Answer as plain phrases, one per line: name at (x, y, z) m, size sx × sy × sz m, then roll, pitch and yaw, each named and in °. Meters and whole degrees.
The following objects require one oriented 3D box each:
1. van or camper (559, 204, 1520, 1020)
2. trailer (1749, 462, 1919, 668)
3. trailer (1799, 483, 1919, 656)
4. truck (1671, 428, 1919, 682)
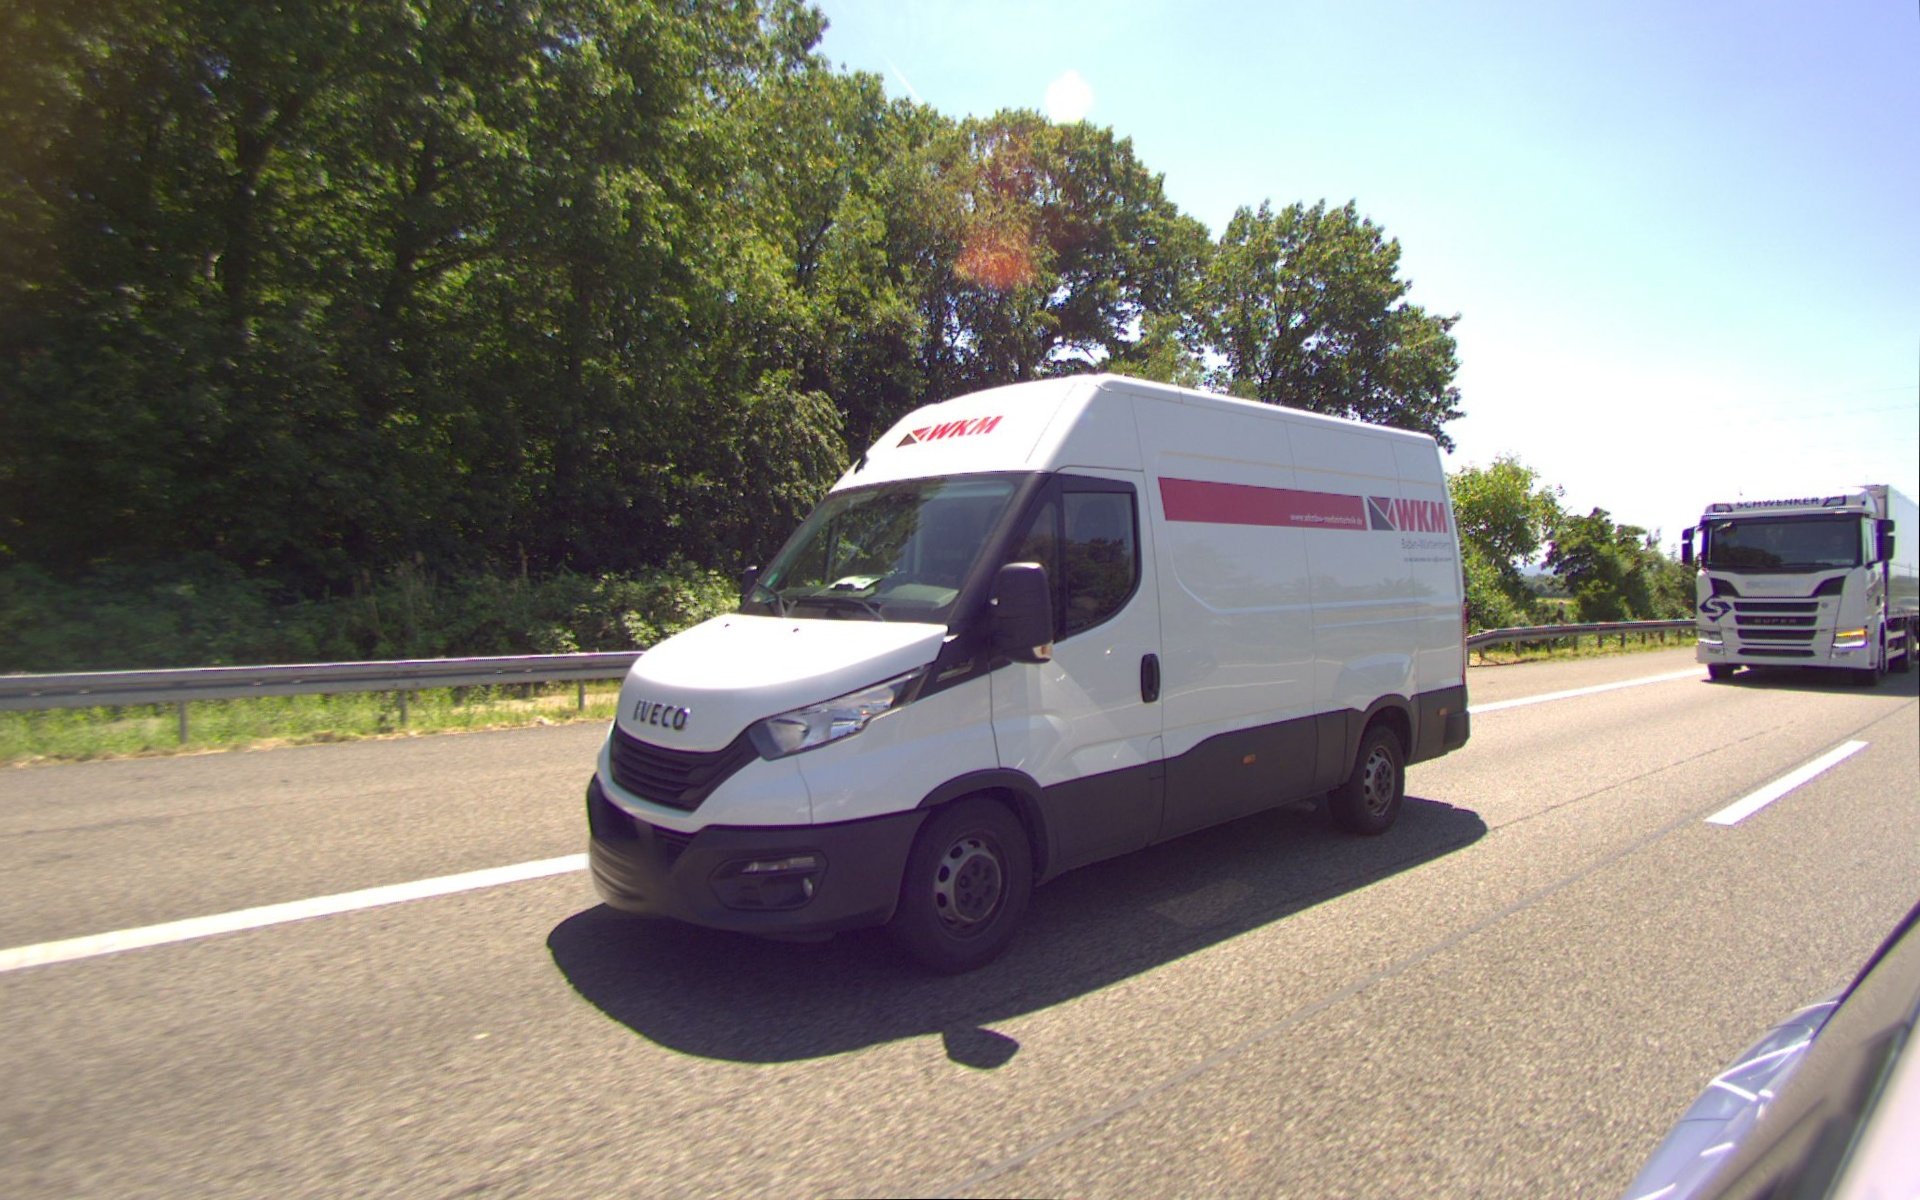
van or camper at (1.122, 0.015, 6.195) m, size 6.374 × 2.671 × 2.025 m, roll 0°, pitch 0°, yaw -41°
trailer at (20.958, -0.743, 23.438) m, size 7.190 × 4.092 × 2.925 m, roll -1°, pitch 0°, yaw -41°
trailer at (25.390, -0.773, 27.363) m, size 7.987 × 4.114 × 2.950 m, roll -1°, pitch 0°, yaw -41°
truck at (16.445, -0.758, 19.535) m, size 6.749 × 4.081 × 2.894 m, roll -1°, pitch 0°, yaw -41°
